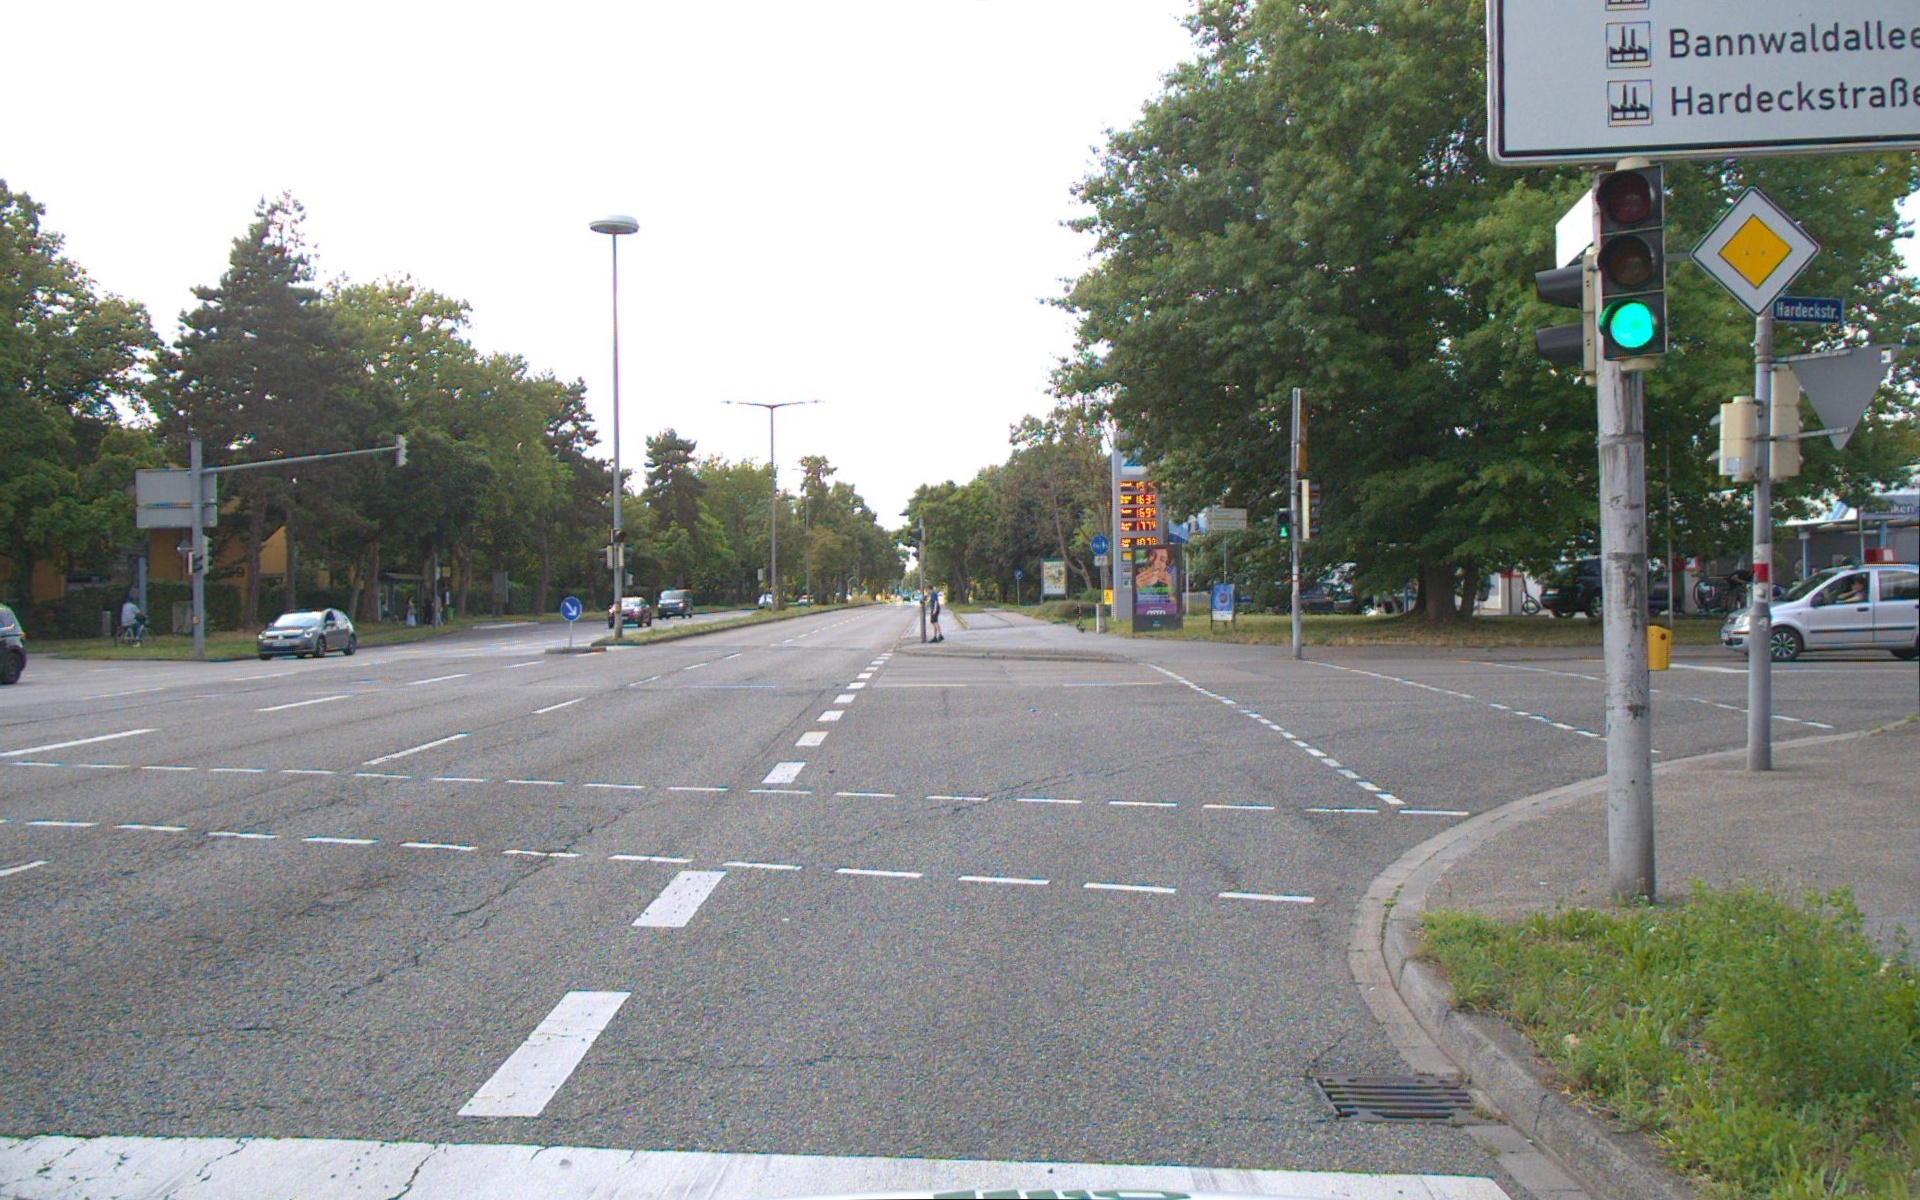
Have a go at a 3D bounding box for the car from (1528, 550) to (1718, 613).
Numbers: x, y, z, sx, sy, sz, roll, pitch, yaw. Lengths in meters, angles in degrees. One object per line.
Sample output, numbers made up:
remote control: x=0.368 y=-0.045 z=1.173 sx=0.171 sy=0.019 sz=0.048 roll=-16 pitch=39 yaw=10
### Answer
car: x=18.494 y=-0.502 z=46.217 sx=4.469 sy=1.624 sz=2.148 roll=-1 pitch=0 yaw=-12

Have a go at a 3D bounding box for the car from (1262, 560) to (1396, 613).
car: x=15.430 y=-0.562 z=69.320 sx=5.079 sy=2.039 sz=2.152 roll=-1 pitch=0 yaw=-5

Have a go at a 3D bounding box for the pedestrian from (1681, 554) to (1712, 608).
pedestrian: x=21.053 y=-0.534 z=47.289 sx=0.550 sy=1.521 sz=0.619 roll=1 pitch=-1 yaw=-8

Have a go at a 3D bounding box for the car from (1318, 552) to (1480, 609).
car: x=15.470 y=-0.677 z=58.333 sx=5.089 sy=1.859 sz=2.148 roll=-1 pitch=0 yaw=-12

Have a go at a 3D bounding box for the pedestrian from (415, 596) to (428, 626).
pedestrian: x=-27.605 y=0.582 z=84.772 sx=0.560 sy=1.522 sz=0.419 roll=1 pitch=-1 yaw=-16

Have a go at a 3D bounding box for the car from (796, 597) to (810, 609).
car: x=-22.624 y=0.389 z=238.868 sx=1.823 sy=1.735 sz=4.453 roll=-1 pitch=0 yaw=-3

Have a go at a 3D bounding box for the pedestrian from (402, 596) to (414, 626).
pedestrian: x=-28.106 y=0.569 z=84.241 sx=0.560 sy=1.522 sz=0.419 roll=1 pitch=-1 yaw=-16

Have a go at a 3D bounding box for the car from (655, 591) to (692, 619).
car: x=-20.013 y=0.324 z=115.656 sx=1.729 sy=1.889 sz=4.816 roll=-1 pitch=1 yaw=-1

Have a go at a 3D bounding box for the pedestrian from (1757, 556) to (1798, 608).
pedestrian: x=20.461 y=-0.450 z=41.413 sx=0.640 sy=1.277 sz=0.753 roll=2 pitch=-1 yaw=-45

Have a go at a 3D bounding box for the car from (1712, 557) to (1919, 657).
car: x=14.287 y=0.107 z=26.836 sx=3.520 sy=1.543 sz=1.560 roll=-1 pitch=0 yaw=12

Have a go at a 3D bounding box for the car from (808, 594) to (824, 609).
car: x=-18.286 y=0.188 z=209.623 sx=1.823 sy=1.735 sz=4.453 roll=-1 pitch=0 yaw=-3

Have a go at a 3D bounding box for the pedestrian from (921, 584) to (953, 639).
pedestrian: x=-0.652 y=0.327 z=47.625 sx=0.713 sy=1.558 sz=0.756 roll=-1 pitch=0 yaw=-17

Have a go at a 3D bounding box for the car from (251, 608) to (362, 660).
car: x=-19.256 y=0.984 z=48.891 sx=1.561 sy=1.396 sz=4.082 roll=-1 pitch=0 yaw=1

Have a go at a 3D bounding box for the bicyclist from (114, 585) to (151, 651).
bicyclist: x=-26.276 y=0.571 z=52.526 sx=0.736 sy=2.049 sz=0.831 roll=-1 pitch=0 yaw=-3

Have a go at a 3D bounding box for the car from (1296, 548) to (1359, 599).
car: x=18.846 y=-1.331 z=85.109 sx=1.715 sy=2.496 sz=5.747 roll=-1 pitch=0 yaw=-2

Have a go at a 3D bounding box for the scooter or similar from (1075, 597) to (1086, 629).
scooter or similar: x=3.764 y=0.406 z=51.882 sx=0.216 sy=0.996 sz=1.272 roll=-1 pitch=0 yaw=-1

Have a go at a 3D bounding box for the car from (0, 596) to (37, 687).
car: x=-19.557 y=0.811 z=31.463 sx=1.637 sy=1.772 sz=4.309 roll=0 pitch=-1 yaw=-1

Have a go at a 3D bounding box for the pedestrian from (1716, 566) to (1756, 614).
pedestrian: x=19.788 y=-0.248 z=42.184 sx=0.640 sy=1.210 sz=0.753 roll=2 pitch=-1 yaw=-45

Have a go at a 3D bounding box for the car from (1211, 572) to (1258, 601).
car: x=14.563 y=-0.685 z=88.010 sx=1.715 sy=1.479 sz=3.739 roll=-1 pitch=0 yaw=-2

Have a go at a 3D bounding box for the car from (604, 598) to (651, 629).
car: x=-16.964 y=0.677 z=84.613 sx=1.736 sy=1.490 sz=4.452 roll=-1 pitch=0 yaw=-4

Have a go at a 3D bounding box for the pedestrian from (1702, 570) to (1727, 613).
pedestrian: x=27.787 y=-0.318 z=60.935 sx=0.640 sy=1.571 sz=0.624 roll=-1 pitch=0 yaw=6

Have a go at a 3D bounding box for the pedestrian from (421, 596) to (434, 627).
pedestrian: x=-27.110 y=0.585 z=84.181 sx=0.560 sy=1.522 sz=0.419 roll=1 pitch=-1 yaw=-16

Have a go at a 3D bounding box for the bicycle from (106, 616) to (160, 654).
bicycle: x=-26.264 y=1.113 z=52.566 sx=0.740 sy=1.138 sz=2.113 roll=-1 pitch=0 yaw=-3

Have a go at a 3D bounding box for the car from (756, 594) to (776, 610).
car: x=-21.756 y=0.166 z=185.714 sx=1.822 sy=1.735 sz=4.454 roll=-1 pitch=0 yaw=-2
